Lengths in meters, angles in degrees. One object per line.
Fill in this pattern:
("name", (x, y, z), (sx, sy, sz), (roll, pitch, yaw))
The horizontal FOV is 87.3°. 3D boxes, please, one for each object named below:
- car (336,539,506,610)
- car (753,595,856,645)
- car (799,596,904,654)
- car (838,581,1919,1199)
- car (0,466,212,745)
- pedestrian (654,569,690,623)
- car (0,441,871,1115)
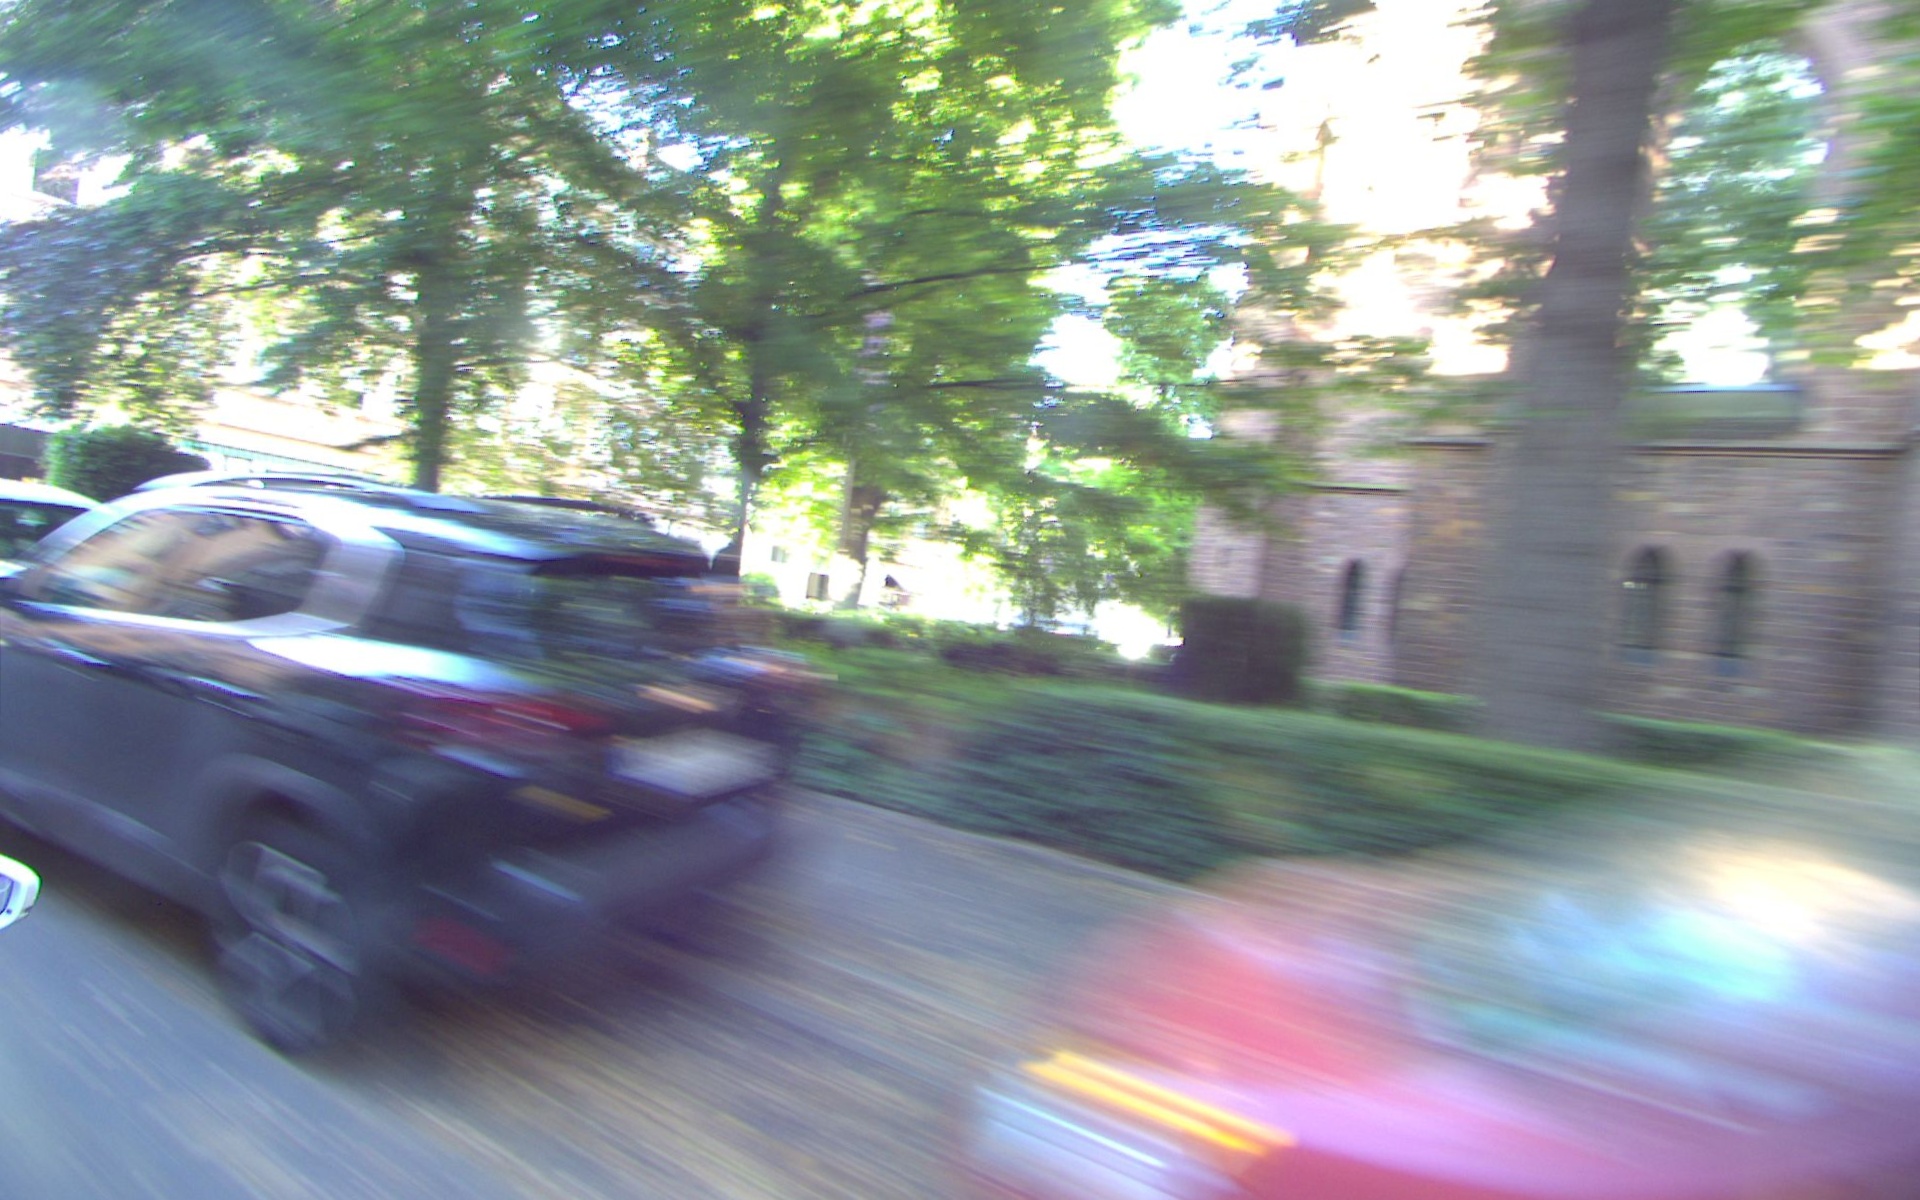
("car", (-15.233, -0.680, 28.579), (1.610, 1.490, 3.855), (4, -3, 38))
("car", (-6.143, 0.819, 40.099), (1.610, 1.571, 3.880), (4, -3, 38))
("car", (-3.817, 0.914, 35.765), (1.610, 1.668, 3.531), (4, -3, 38))
("car", (1.863, 0.956, 1.369), (3.797, 1.647, 1.619), (6, 4, 28))
("car", (-7.011, -0.141, 6.775), (3.763, 1.590, 1.722), (7, 0, 30))
("pedestrian", (-11.058, -0.144, 38.656), (0.787, 1.943, 0.716), (10, 1, 31))
("car", (-2.653, 0.281, 4.179), (4.189, 1.626, 1.740), (6, 4, 27))
